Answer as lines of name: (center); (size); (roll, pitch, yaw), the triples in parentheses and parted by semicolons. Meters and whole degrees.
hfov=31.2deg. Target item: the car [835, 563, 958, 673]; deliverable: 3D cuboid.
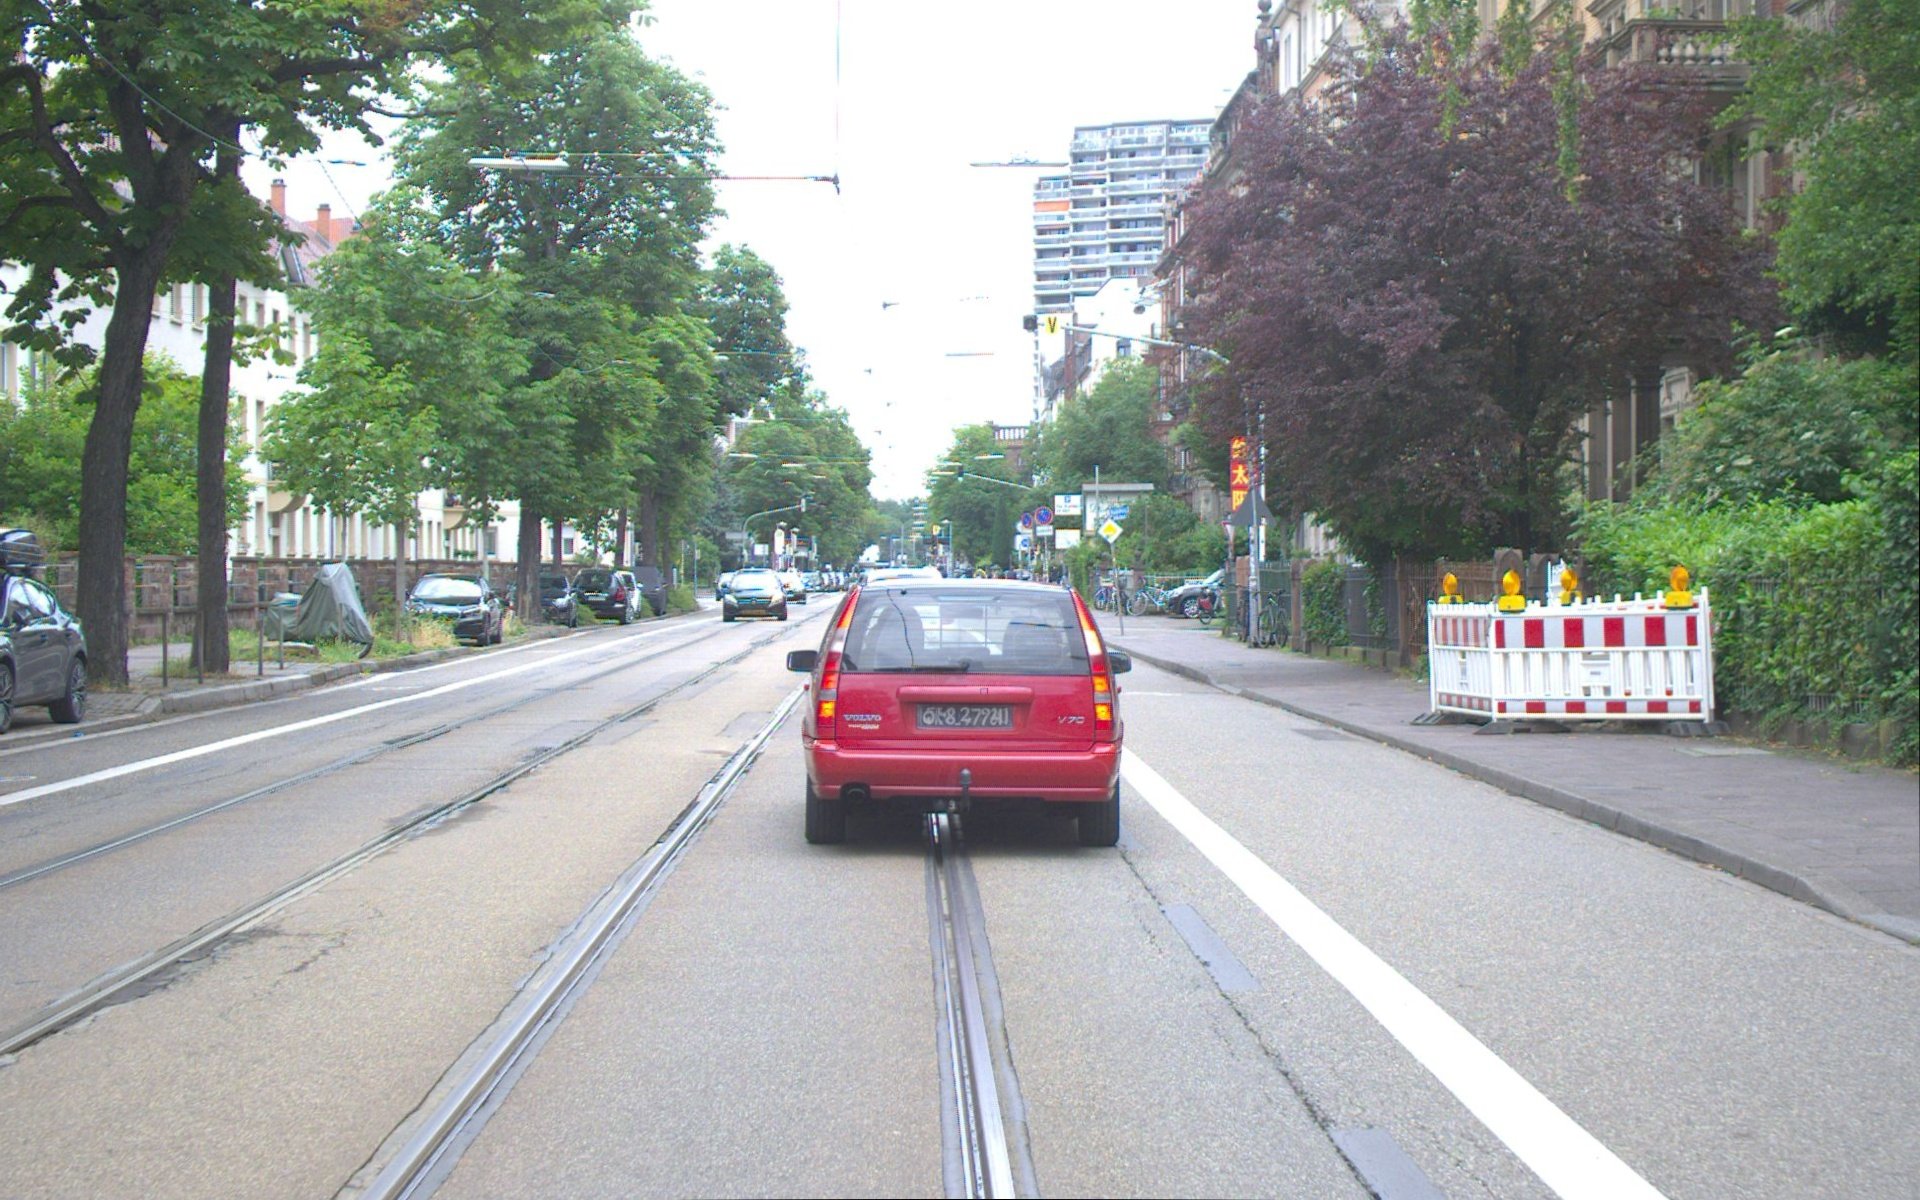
car: (-0.943, 0.249, 52.898); (1.719, 1.619, 3.941); (0, 1, 1)

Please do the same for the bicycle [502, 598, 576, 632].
bicycle: (-10.429, 0.369, 85.133); (1.748, 0.841, 0.684); (0, 0, 0)

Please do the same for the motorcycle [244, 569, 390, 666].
motorcycle: (-10.264, 0.273, 54.841); (2.269, 1.506, 0.925); (0, -1, 34)

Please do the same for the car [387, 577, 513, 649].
car: (-10.328, 0.234, 69.900); (1.890, 1.393, 4.417); (0, 1, 0)

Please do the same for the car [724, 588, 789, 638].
car: (-5.874, 0.357, 99.436); (1.755, 1.375, 4.027); (0, 1, -2)

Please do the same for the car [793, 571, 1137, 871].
car: (-0.004, 0.590, 19.055); (1.689, 1.436, 3.743); (1, 1, -1)

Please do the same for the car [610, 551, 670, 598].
car: (-11.044, -0.890, 118.780); (1.713, 1.575, 4.000); (1, 1, -1)

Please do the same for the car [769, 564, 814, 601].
car: (-7.559, -0.809, 154.561); (1.894, 1.605, 4.500); (0, 1, -1)

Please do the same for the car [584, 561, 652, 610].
car: (-11.049, -0.472, 111.387); (1.851, 1.558, 3.943); (0, 1, -1)

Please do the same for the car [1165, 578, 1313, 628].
car: (7.796, 0.074, 95.945); (3.988, 1.357, 1.891); (0, 1, 10)

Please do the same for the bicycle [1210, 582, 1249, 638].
bicycle: (5.139, 0.183, 65.683); (0.523, 1.027, 2.176); (-1, 0, -1)

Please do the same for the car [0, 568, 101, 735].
car: (-9.679, 0.452, 33.028); (1.777, 1.505, 4.238); (1, 1, 0)

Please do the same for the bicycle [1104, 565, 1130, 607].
bicycle: (4.884, -0.451, 107.223); (0.708, 1.296, 1.904); (0, 1, -1)

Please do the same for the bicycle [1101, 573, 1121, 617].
bicycle: (4.873, -0.174, 110.866); (0.551, 1.395, 1.734); (0, 0, -1)

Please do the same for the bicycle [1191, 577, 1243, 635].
bicycle: (6.862, 0.146, 91.638); (0.918, 1.502, 2.379); (1, 1, 16)
